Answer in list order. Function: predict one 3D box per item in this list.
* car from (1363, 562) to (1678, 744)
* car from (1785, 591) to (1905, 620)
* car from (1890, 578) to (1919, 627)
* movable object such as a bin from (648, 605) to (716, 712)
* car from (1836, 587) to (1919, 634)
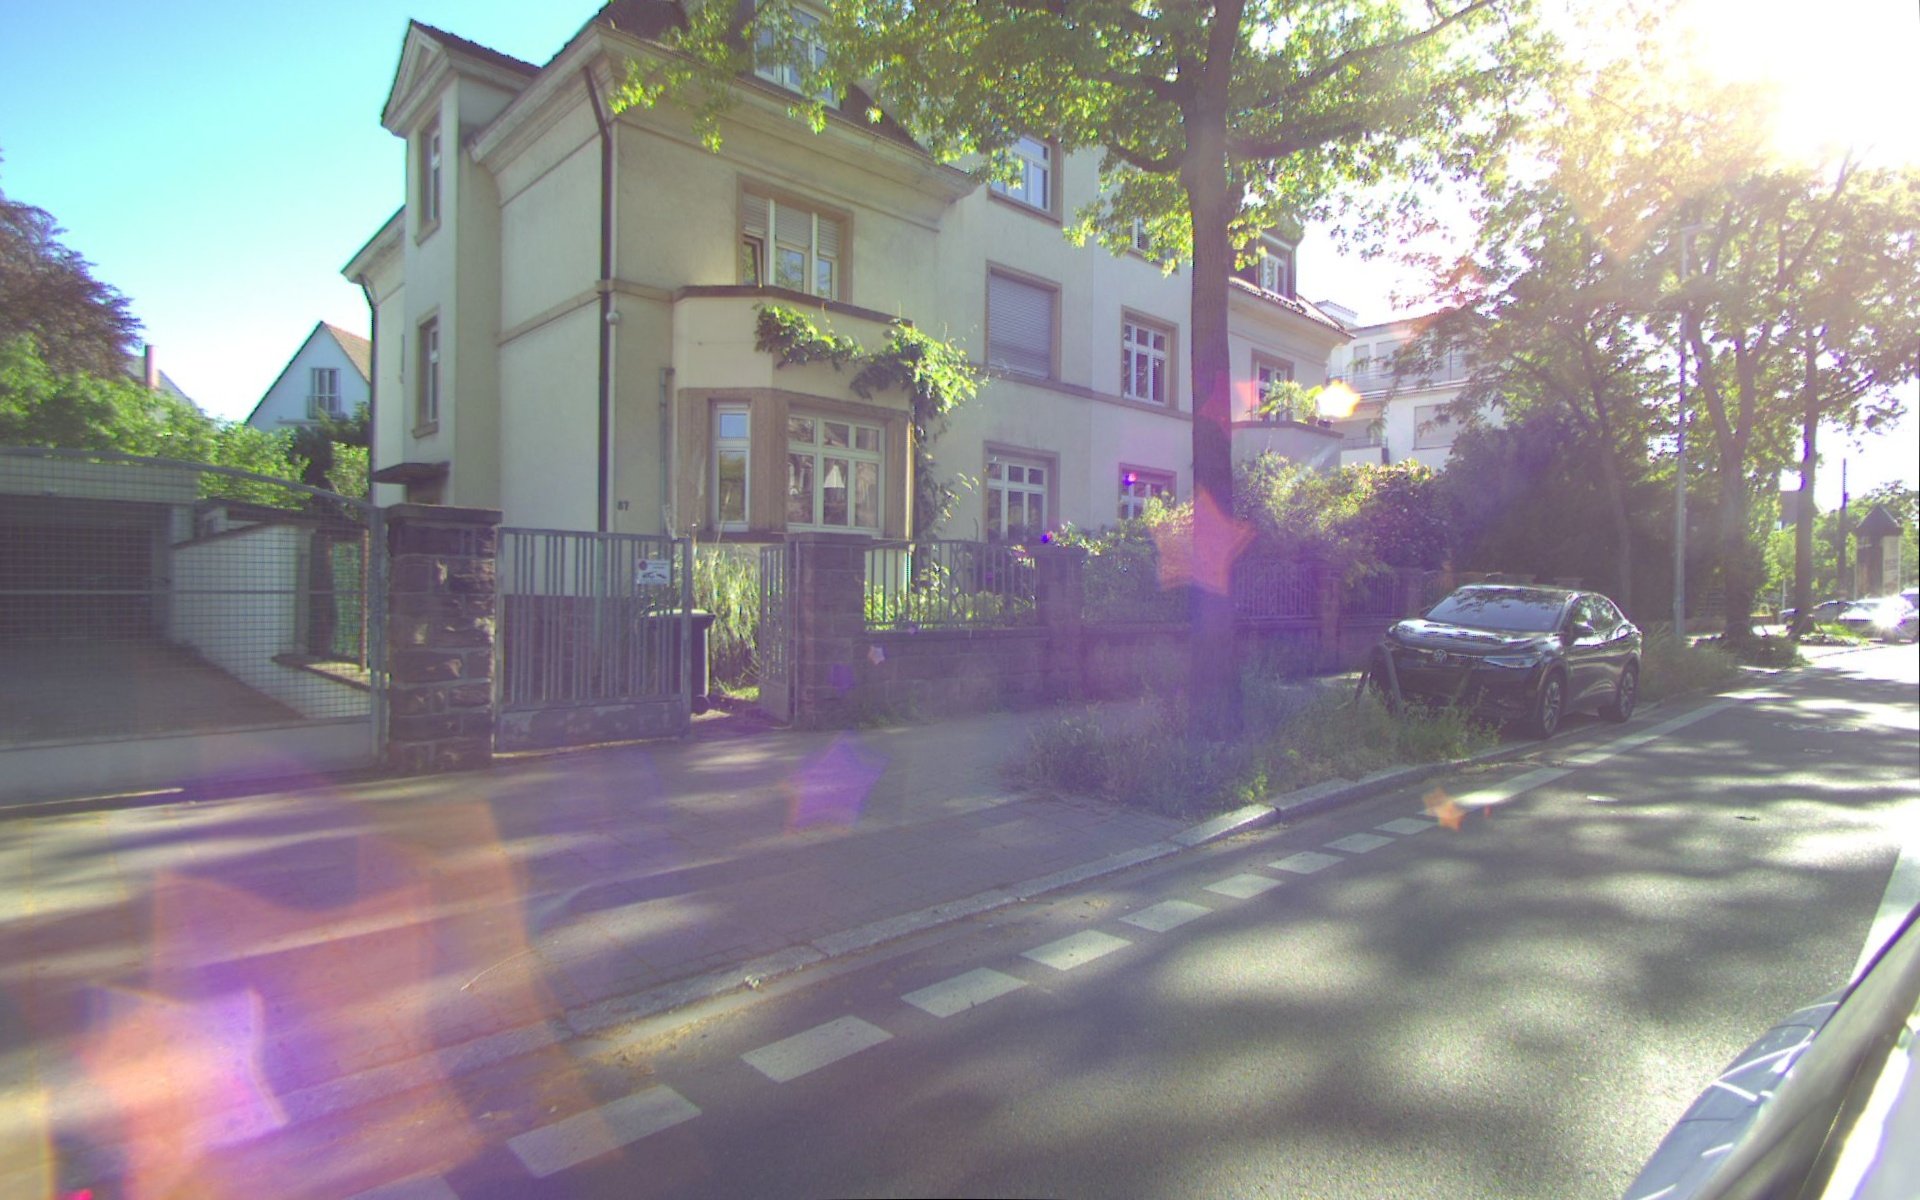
[{"bbox_3d":[6.904,0.491,12.235,4.647,1.714,1.808,0,5,-42],"label":"car"},{"bbox_3d":[46.649,0.276,53.428,1.934,1.386,4.520,0,1,-40],"label":"car"},{"bbox_3d":[36.635,0.090,37.789,4.664,1.768,2.028,0,1,-38],"label":"car"},{"bbox_3d":[-2.939,0.594,10.677,0.634,1.060,0.659,0,1,-21],"label":"movable object such as a bin"},{"bbox_3d":[31.716,0.312,34.547,4.254,1.440,1.999,-1,2,-38],"label":"car"}]
